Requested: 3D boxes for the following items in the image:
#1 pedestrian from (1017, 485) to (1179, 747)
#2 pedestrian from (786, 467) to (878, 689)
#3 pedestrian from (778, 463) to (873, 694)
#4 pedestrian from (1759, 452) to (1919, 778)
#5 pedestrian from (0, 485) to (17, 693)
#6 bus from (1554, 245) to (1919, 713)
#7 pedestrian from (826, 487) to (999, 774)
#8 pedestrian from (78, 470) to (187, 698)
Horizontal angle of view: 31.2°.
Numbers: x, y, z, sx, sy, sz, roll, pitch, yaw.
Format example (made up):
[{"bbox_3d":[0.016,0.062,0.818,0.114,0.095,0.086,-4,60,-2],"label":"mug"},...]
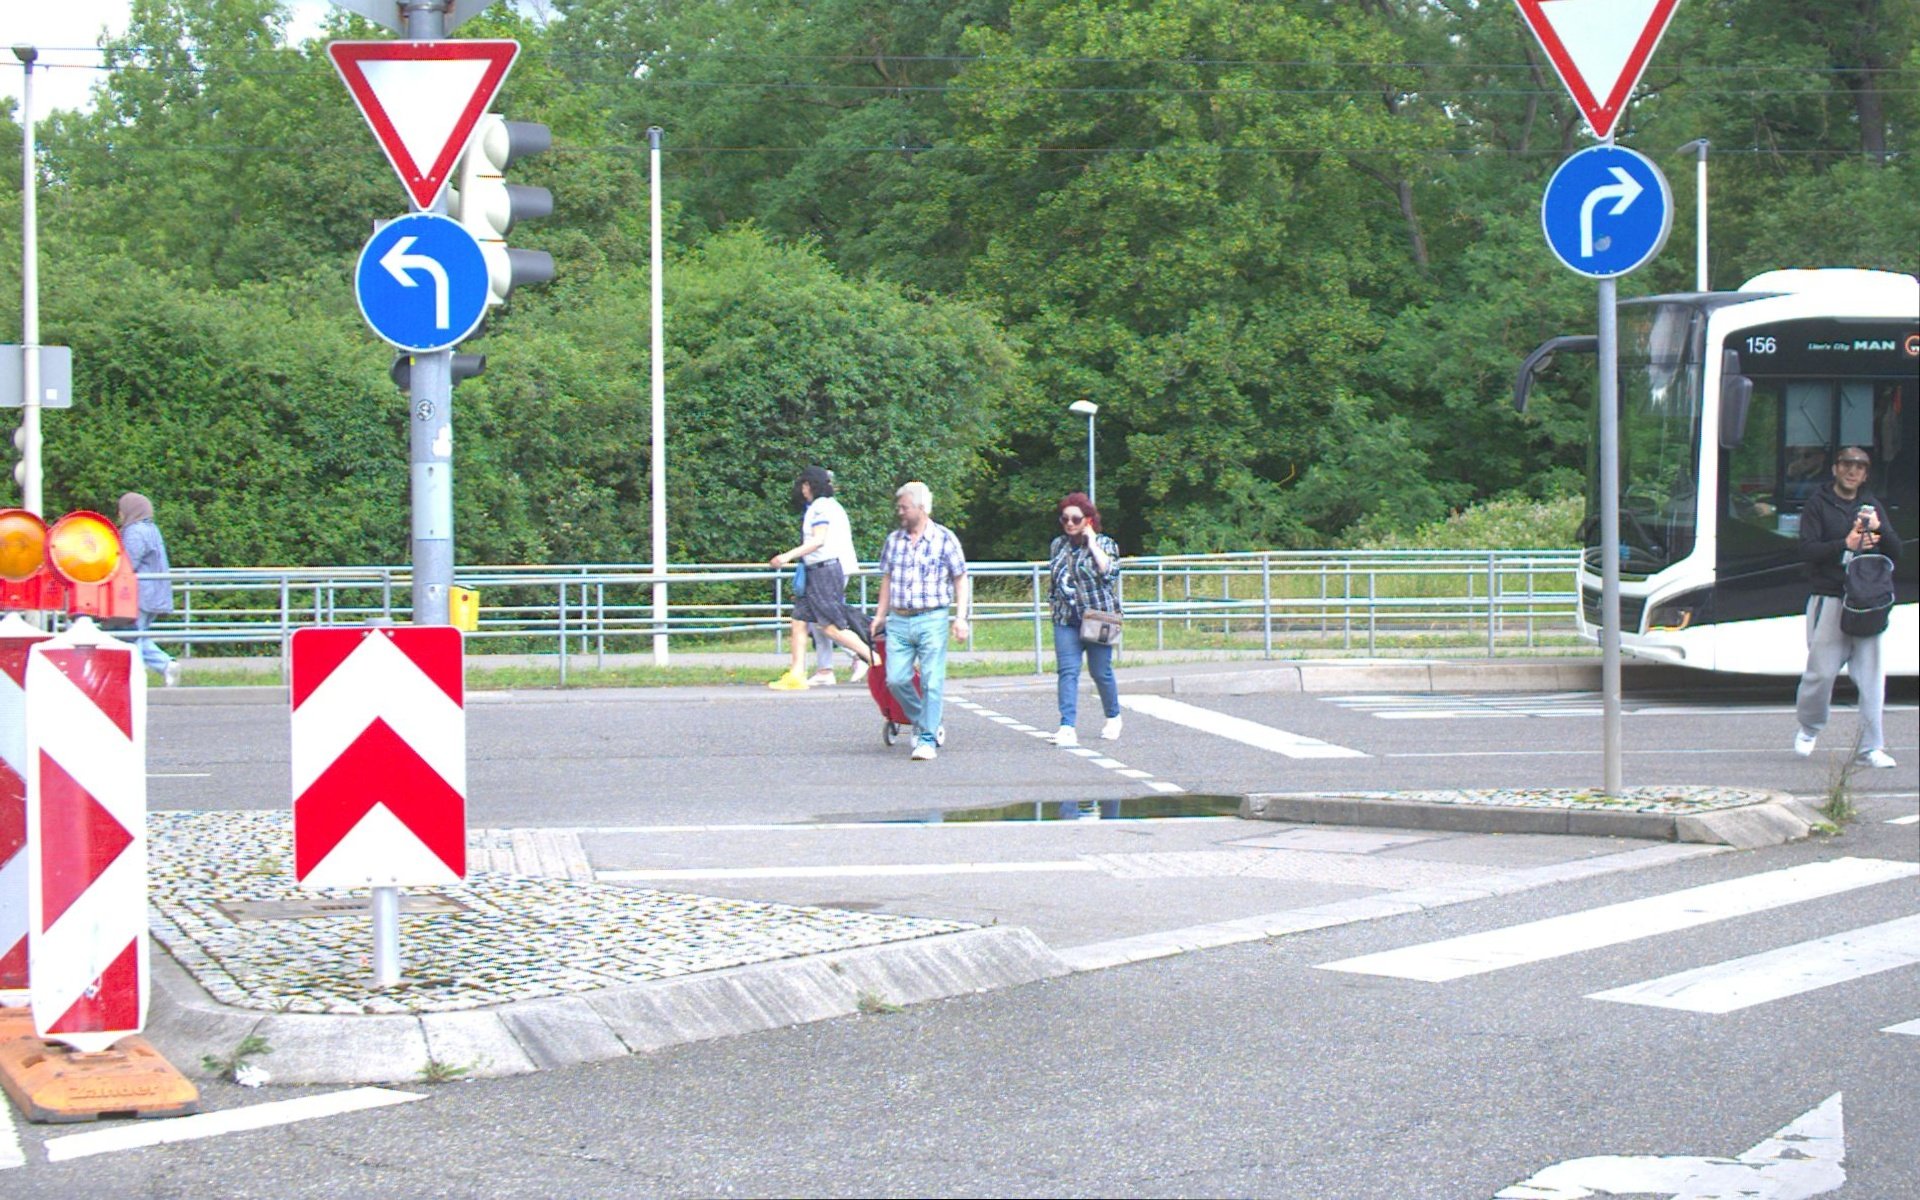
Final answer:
[{"bbox_3d":[0.840,0.085,20.942,0.691,1.561,0.731,1,1,37],"label":"pedestrian"},{"bbox_3d":[-1.021,-0.182,27.487,0.720,1.741,0.957,0,1,-2],"label":"pedestrian"},{"bbox_3d":[-1.032,-0.175,26.443,0.720,1.741,0.957,0,1,-2],"label":"pedestrian"},{"bbox_3d":[4.922,0.067,18.970,0.955,1.741,1.061,0,1,11],"label":"pedestrian"},{"bbox_3d":[-7.844,-0.094,27.041,0.720,1.616,0.805,0,1,-8],"label":"pedestrian"},{"bbox_3d":[10.719,-0.922,25.558,12.157,3.192,2.676,-1,1,-7],"label":"bus"},{"bbox_3d":[-0.278,0.164,19.951,0.720,1.628,0.699,-1,1,-37],"label":"pedestrian"},{"bbox_3d":[-6.426,-0.131,26.726,0.720,1.741,0.958,0,1,-8],"label":"pedestrian"}]
